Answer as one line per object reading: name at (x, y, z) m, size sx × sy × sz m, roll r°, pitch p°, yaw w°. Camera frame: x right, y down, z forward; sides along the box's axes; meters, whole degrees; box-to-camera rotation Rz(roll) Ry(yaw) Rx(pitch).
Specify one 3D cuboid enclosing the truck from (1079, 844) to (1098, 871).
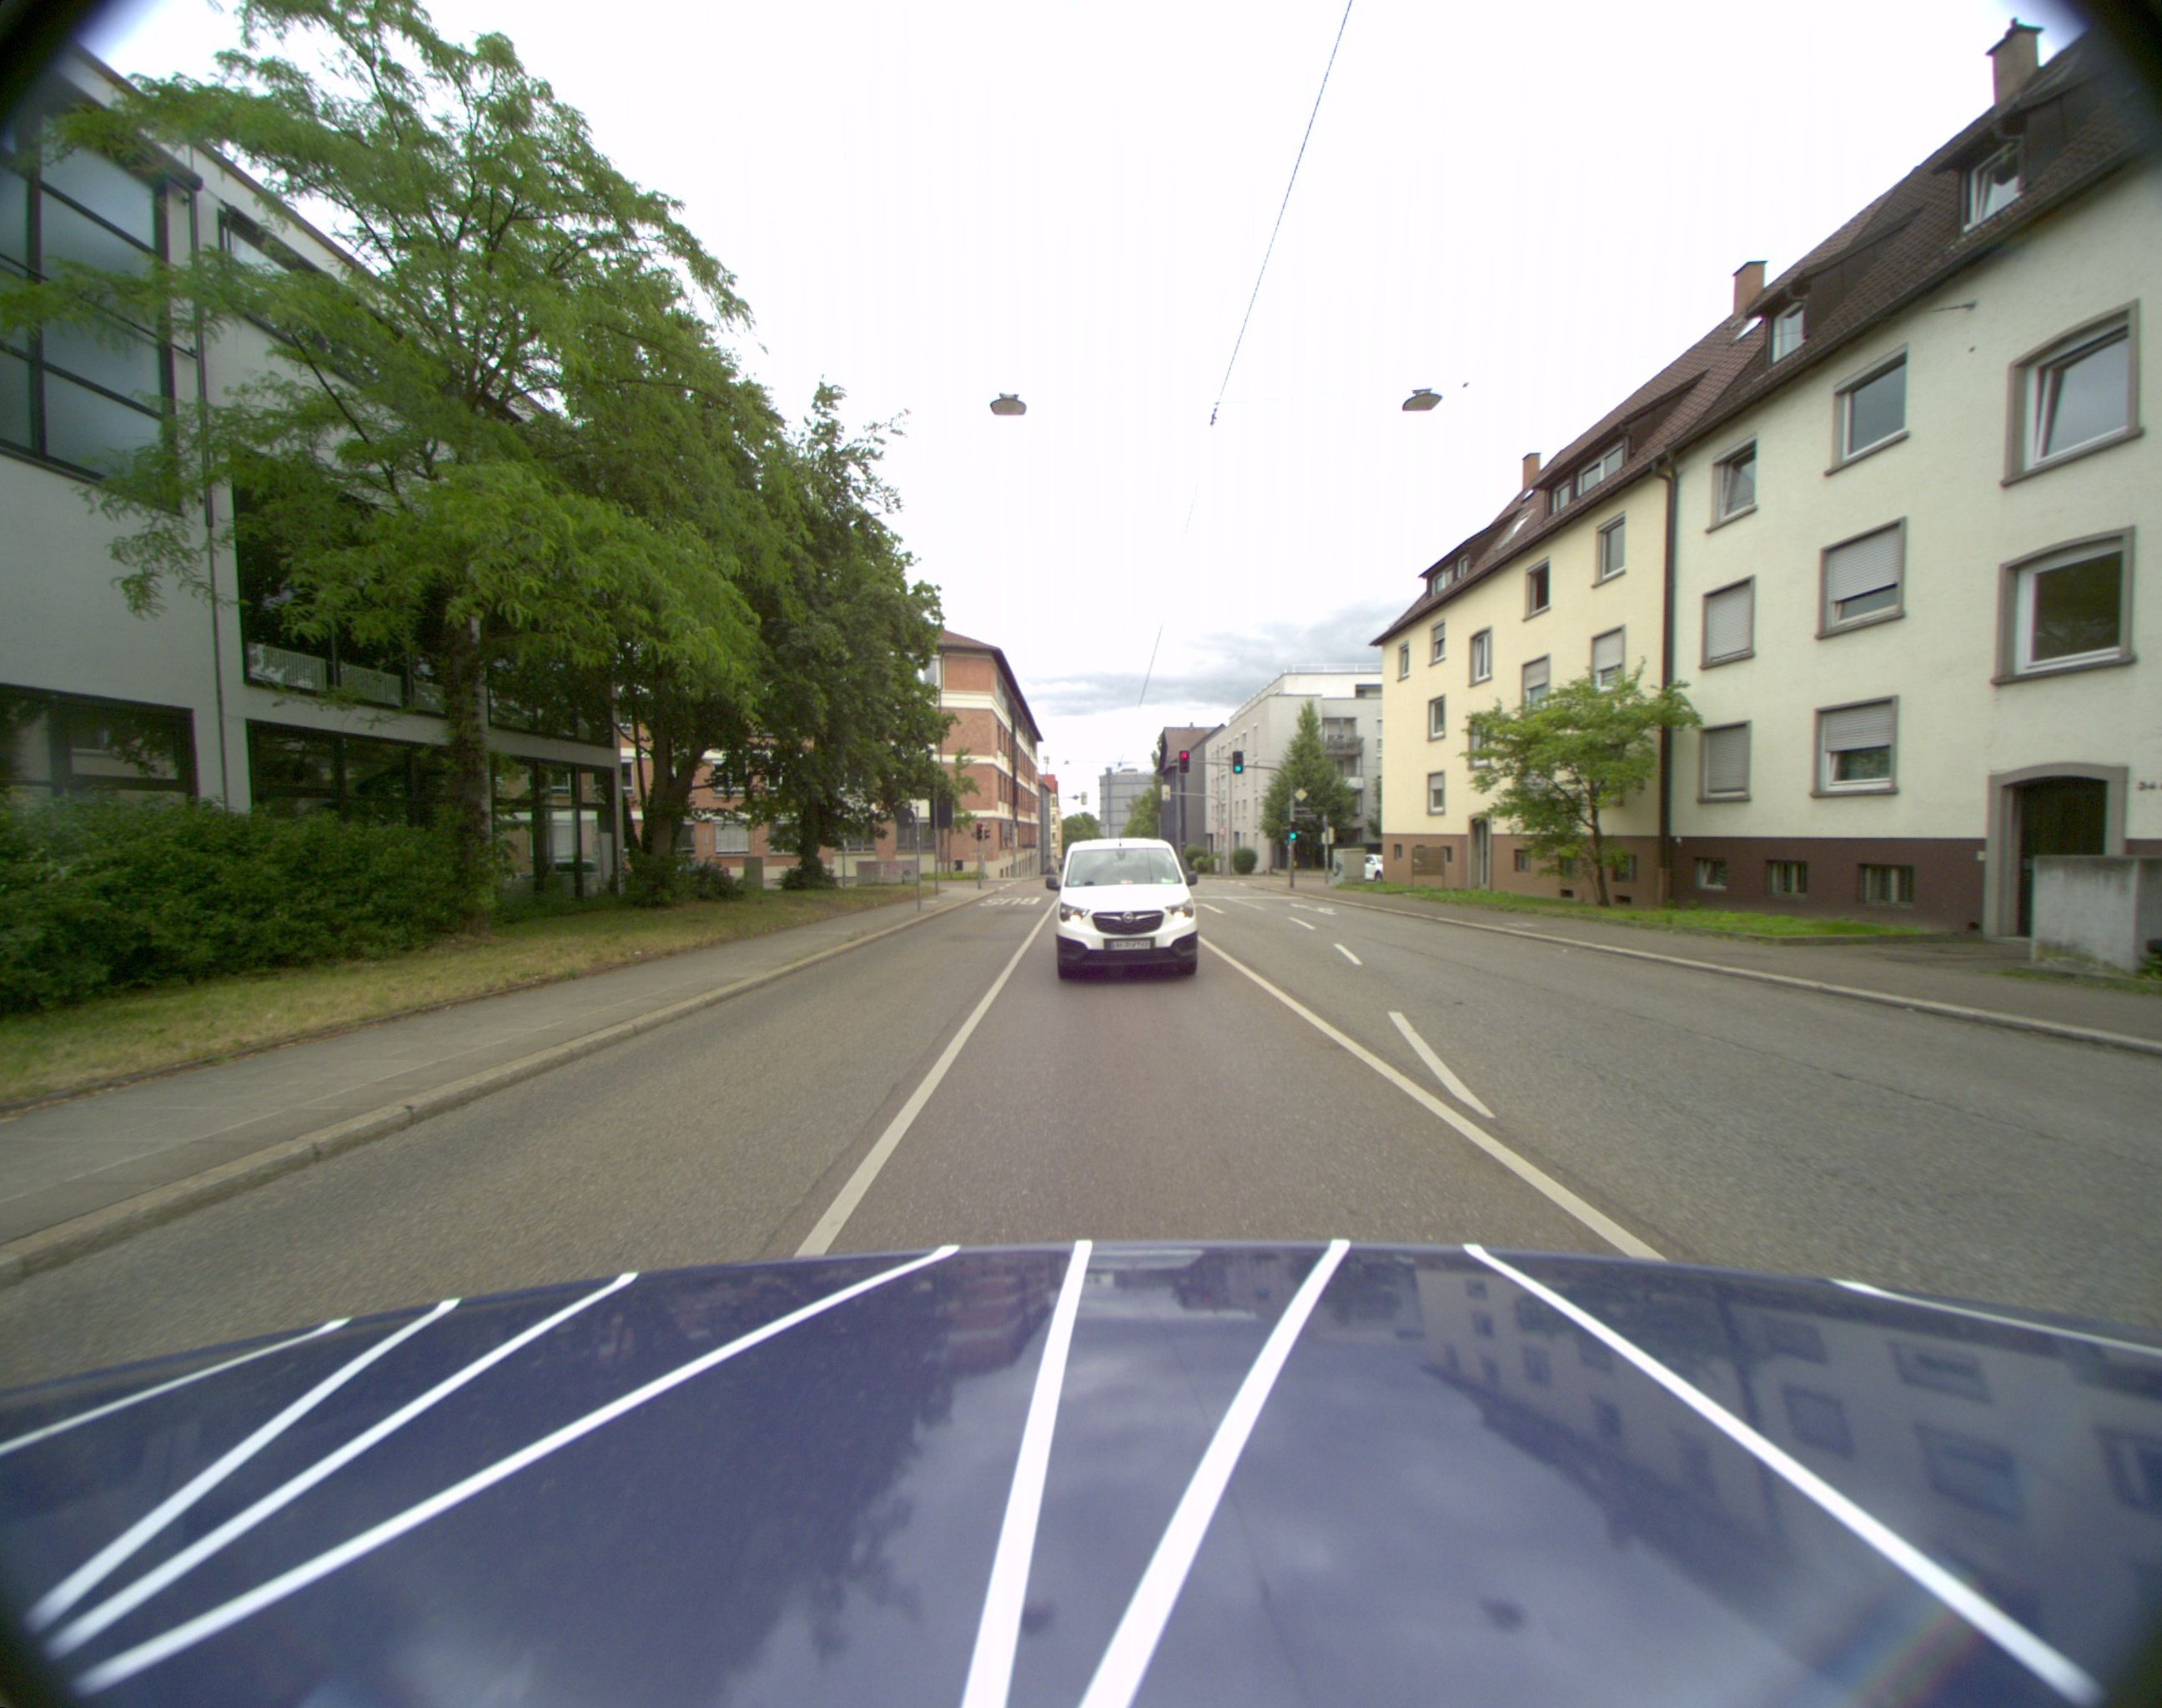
truck at (1.085, 0.492, 104.598) m, size 2.545 × 3.478 × 8.521 m, roll 0°, pitch 0°, yaw 1°

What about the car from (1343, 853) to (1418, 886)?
car at (15.028, 0.782, 38.367) m, size 1.819 × 1.527 × 4.260 m, roll 1°, pitch -1°, yaw -4°

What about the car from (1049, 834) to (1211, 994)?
car at (0.607, 0.745, 11.025) m, size 1.850 × 1.831 × 4.284 m, roll -1°, pitch -1°, yaw 1°

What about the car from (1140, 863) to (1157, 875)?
car at (8.193, 1.783, 92.578) m, size 1.799 × 1.401 × 4.000 m, roll 0°, pitch 0°, yaw 1°

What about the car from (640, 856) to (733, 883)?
car at (-21.737, 0.869, 42.066) m, size 4.425 × 1.396 × 1.771 m, roll 0°, pitch -3°, yaw -21°
